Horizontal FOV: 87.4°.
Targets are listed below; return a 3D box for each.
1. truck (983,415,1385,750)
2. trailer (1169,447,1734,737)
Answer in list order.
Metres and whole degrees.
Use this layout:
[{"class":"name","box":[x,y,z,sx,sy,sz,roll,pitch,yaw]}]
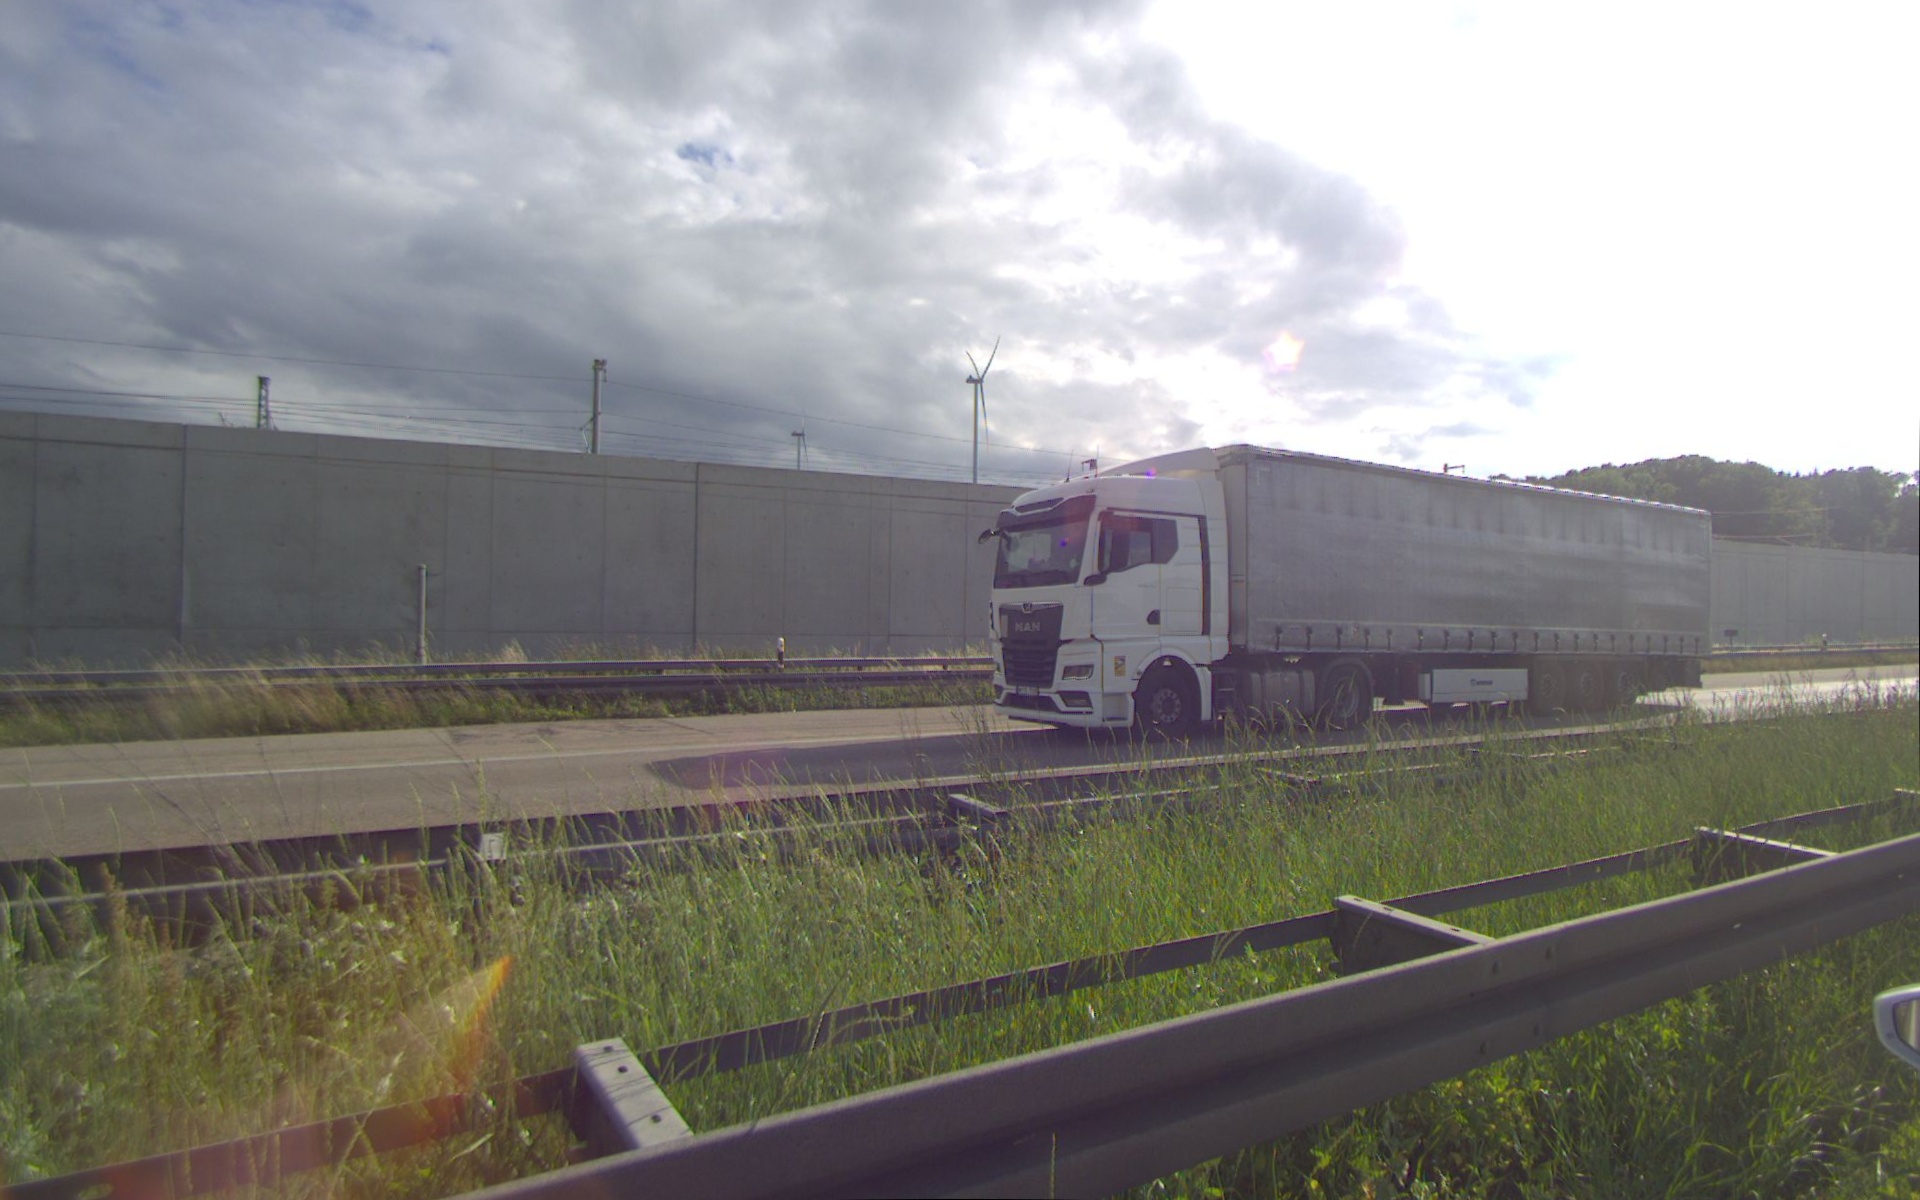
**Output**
[{"class":"truck","box":[3.378,-0.115,15.017,5.467,4.141,2.763,1,-3,-31]},{"class":"trailer","box":[9.891,0.092,18.960,13.365,4.130,2.777,2,-2,-31]}]
